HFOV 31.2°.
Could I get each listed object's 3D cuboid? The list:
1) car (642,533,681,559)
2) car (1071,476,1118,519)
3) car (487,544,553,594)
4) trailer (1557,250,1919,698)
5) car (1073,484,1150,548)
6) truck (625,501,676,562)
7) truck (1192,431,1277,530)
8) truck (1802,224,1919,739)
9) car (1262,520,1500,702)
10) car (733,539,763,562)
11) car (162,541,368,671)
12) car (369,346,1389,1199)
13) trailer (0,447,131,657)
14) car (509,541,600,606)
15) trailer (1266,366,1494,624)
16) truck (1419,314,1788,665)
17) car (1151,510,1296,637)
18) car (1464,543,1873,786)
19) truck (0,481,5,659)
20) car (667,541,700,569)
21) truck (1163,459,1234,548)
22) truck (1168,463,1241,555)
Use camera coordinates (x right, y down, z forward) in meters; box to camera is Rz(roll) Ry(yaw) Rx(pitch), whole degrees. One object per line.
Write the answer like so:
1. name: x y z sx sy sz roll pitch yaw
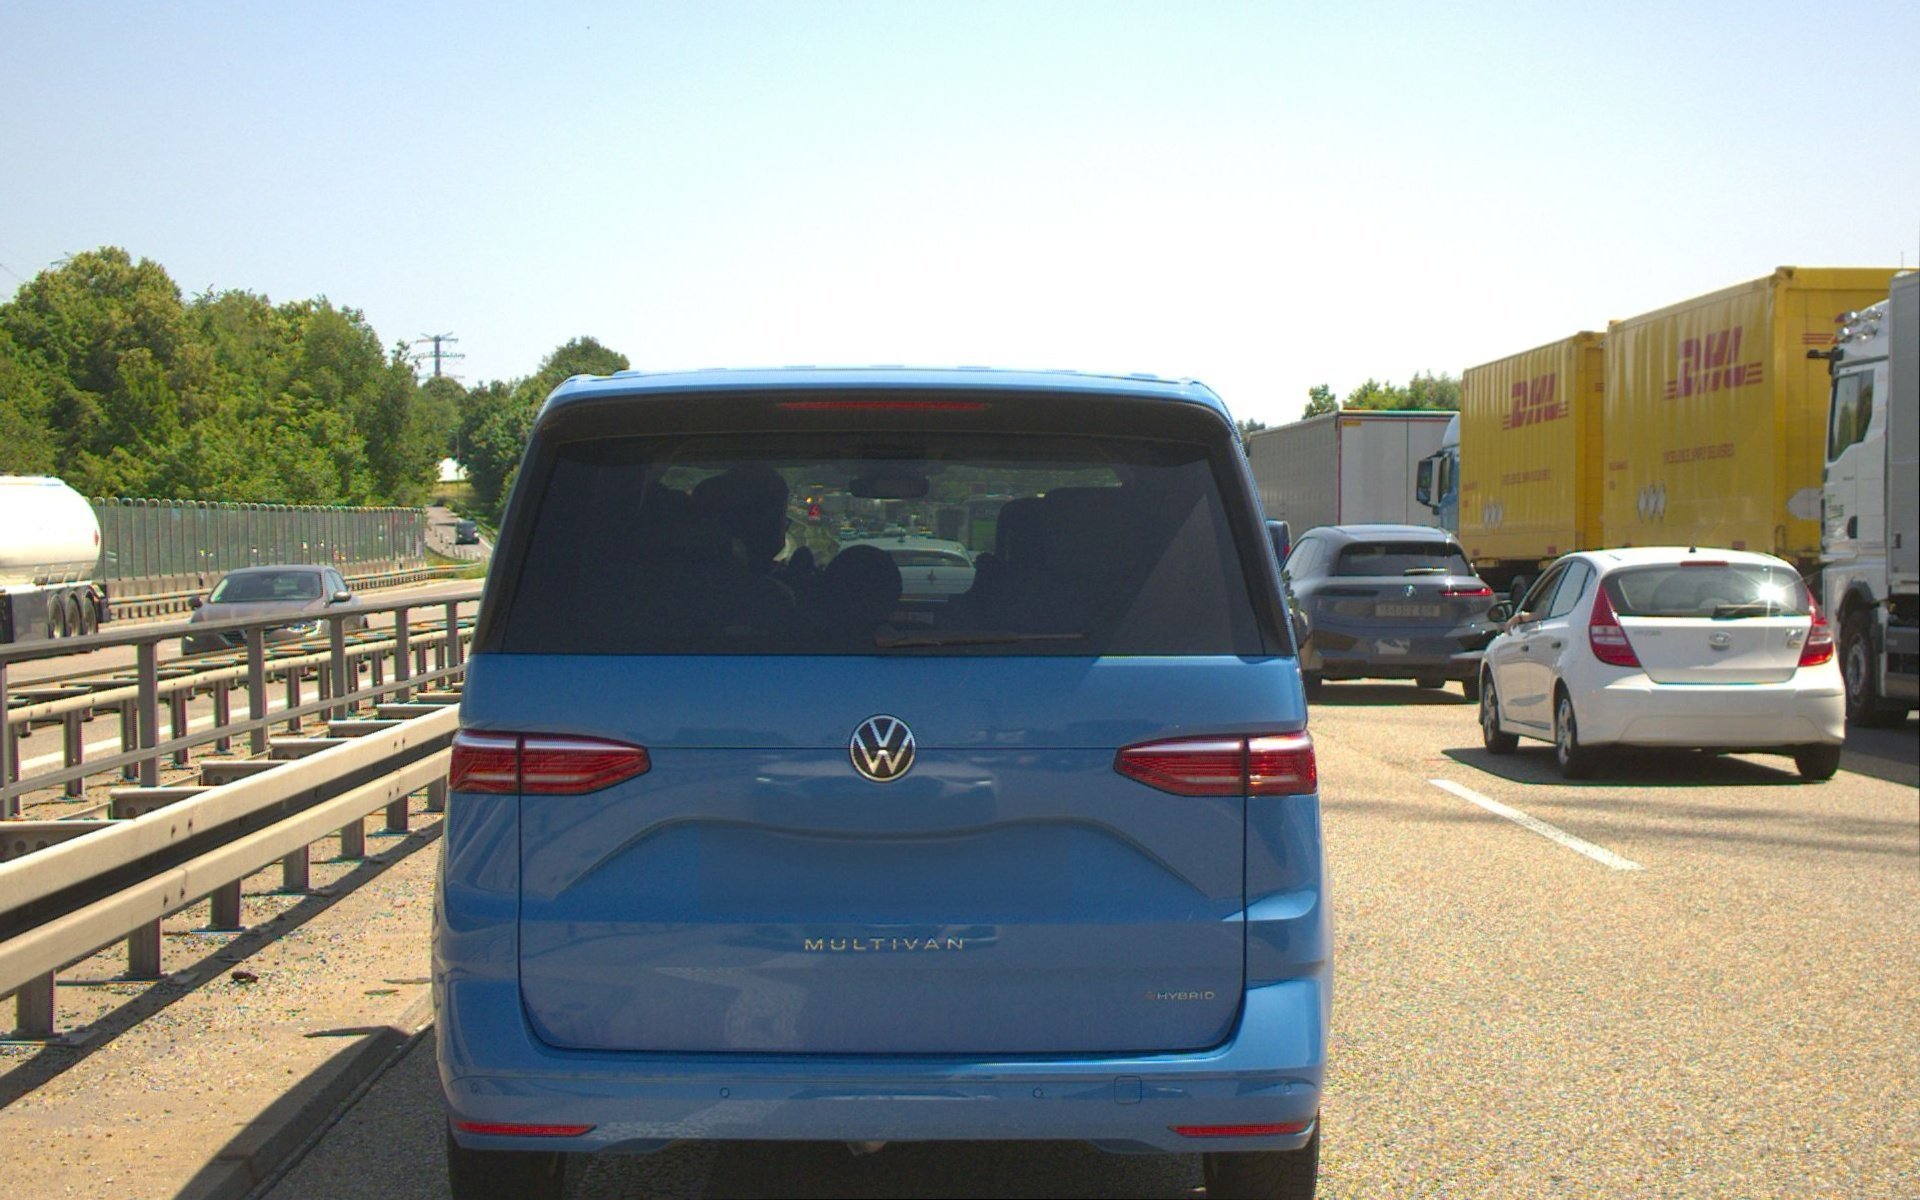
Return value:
1. car: -17.188 -3.117 198.183 1.871 1.437 4.386 -2 1 -1
2. car: 5.775 -4.401 147.938 1.797 1.745 3.943 1 0 0
3. car: -14.970 -1.054 117.072 1.806 1.634 4.000 -2 1 -2
4. trailer: 8.532 -1.176 35.921 2.682 4.074 8.981 1 0 -2
5. car: 4.222 -2.327 96.181 1.919 1.700 4.000 1 0 -1
6. truck: -23.150 -5.090 257.158 2.929 4.279 6.858 -3 0 0
7. truck: 7.176 -3.108 90.182 1.798 2.441 4.504 1 0 0
8. truck: 8.745 -0.867 24.124 2.852 3.921 10.610 1 0 -1
9. car: 4.104 0.088 34.065 1.815 1.673 3.932 1 0 -1
10. car: -15.542 -3.612 251.980 1.871 1.524 3.609 -6 1 -1
11. car: -8.754 0.057 43.630 1.881 1.547 4.190 1 0 -2
12. car: -0.177 0.447 8.592 1.930 1.867 4.000 1 0 -1
13. trailer: -17.359 -0.798 61.235 2.498 3.528 10.904 -2 0 0
14. car: -10.037 -0.654 85.333 1.881 1.547 4.190 1 0 -2
15. trailer: 8.043 -1.927 67.296 3.026 4.595 10.925 1 0 0
16. truck: 8.228 -1.340 45.369 2.699 4.074 9.940 1 0 -2
17. car: 4.207 -0.428 55.343 1.962 1.929 3.932 1 0 -1
18. car: 4.646 0.380 23.110 1.815 1.465 3.932 1 0 -2
19. truck: -17.344 -0.725 55.047 2.520 3.523 5.330 -2 0 0
20. car: -18.501 -2.991 230.116 1.839 1.816 4.748 -1 0 -1
21. truck: 7.201 -2.899 104.247 1.797 2.587 4.305 1 0 0
22. truck: 7.032 -2.599 99.099 1.742 2.540 4.210 1 0 0
